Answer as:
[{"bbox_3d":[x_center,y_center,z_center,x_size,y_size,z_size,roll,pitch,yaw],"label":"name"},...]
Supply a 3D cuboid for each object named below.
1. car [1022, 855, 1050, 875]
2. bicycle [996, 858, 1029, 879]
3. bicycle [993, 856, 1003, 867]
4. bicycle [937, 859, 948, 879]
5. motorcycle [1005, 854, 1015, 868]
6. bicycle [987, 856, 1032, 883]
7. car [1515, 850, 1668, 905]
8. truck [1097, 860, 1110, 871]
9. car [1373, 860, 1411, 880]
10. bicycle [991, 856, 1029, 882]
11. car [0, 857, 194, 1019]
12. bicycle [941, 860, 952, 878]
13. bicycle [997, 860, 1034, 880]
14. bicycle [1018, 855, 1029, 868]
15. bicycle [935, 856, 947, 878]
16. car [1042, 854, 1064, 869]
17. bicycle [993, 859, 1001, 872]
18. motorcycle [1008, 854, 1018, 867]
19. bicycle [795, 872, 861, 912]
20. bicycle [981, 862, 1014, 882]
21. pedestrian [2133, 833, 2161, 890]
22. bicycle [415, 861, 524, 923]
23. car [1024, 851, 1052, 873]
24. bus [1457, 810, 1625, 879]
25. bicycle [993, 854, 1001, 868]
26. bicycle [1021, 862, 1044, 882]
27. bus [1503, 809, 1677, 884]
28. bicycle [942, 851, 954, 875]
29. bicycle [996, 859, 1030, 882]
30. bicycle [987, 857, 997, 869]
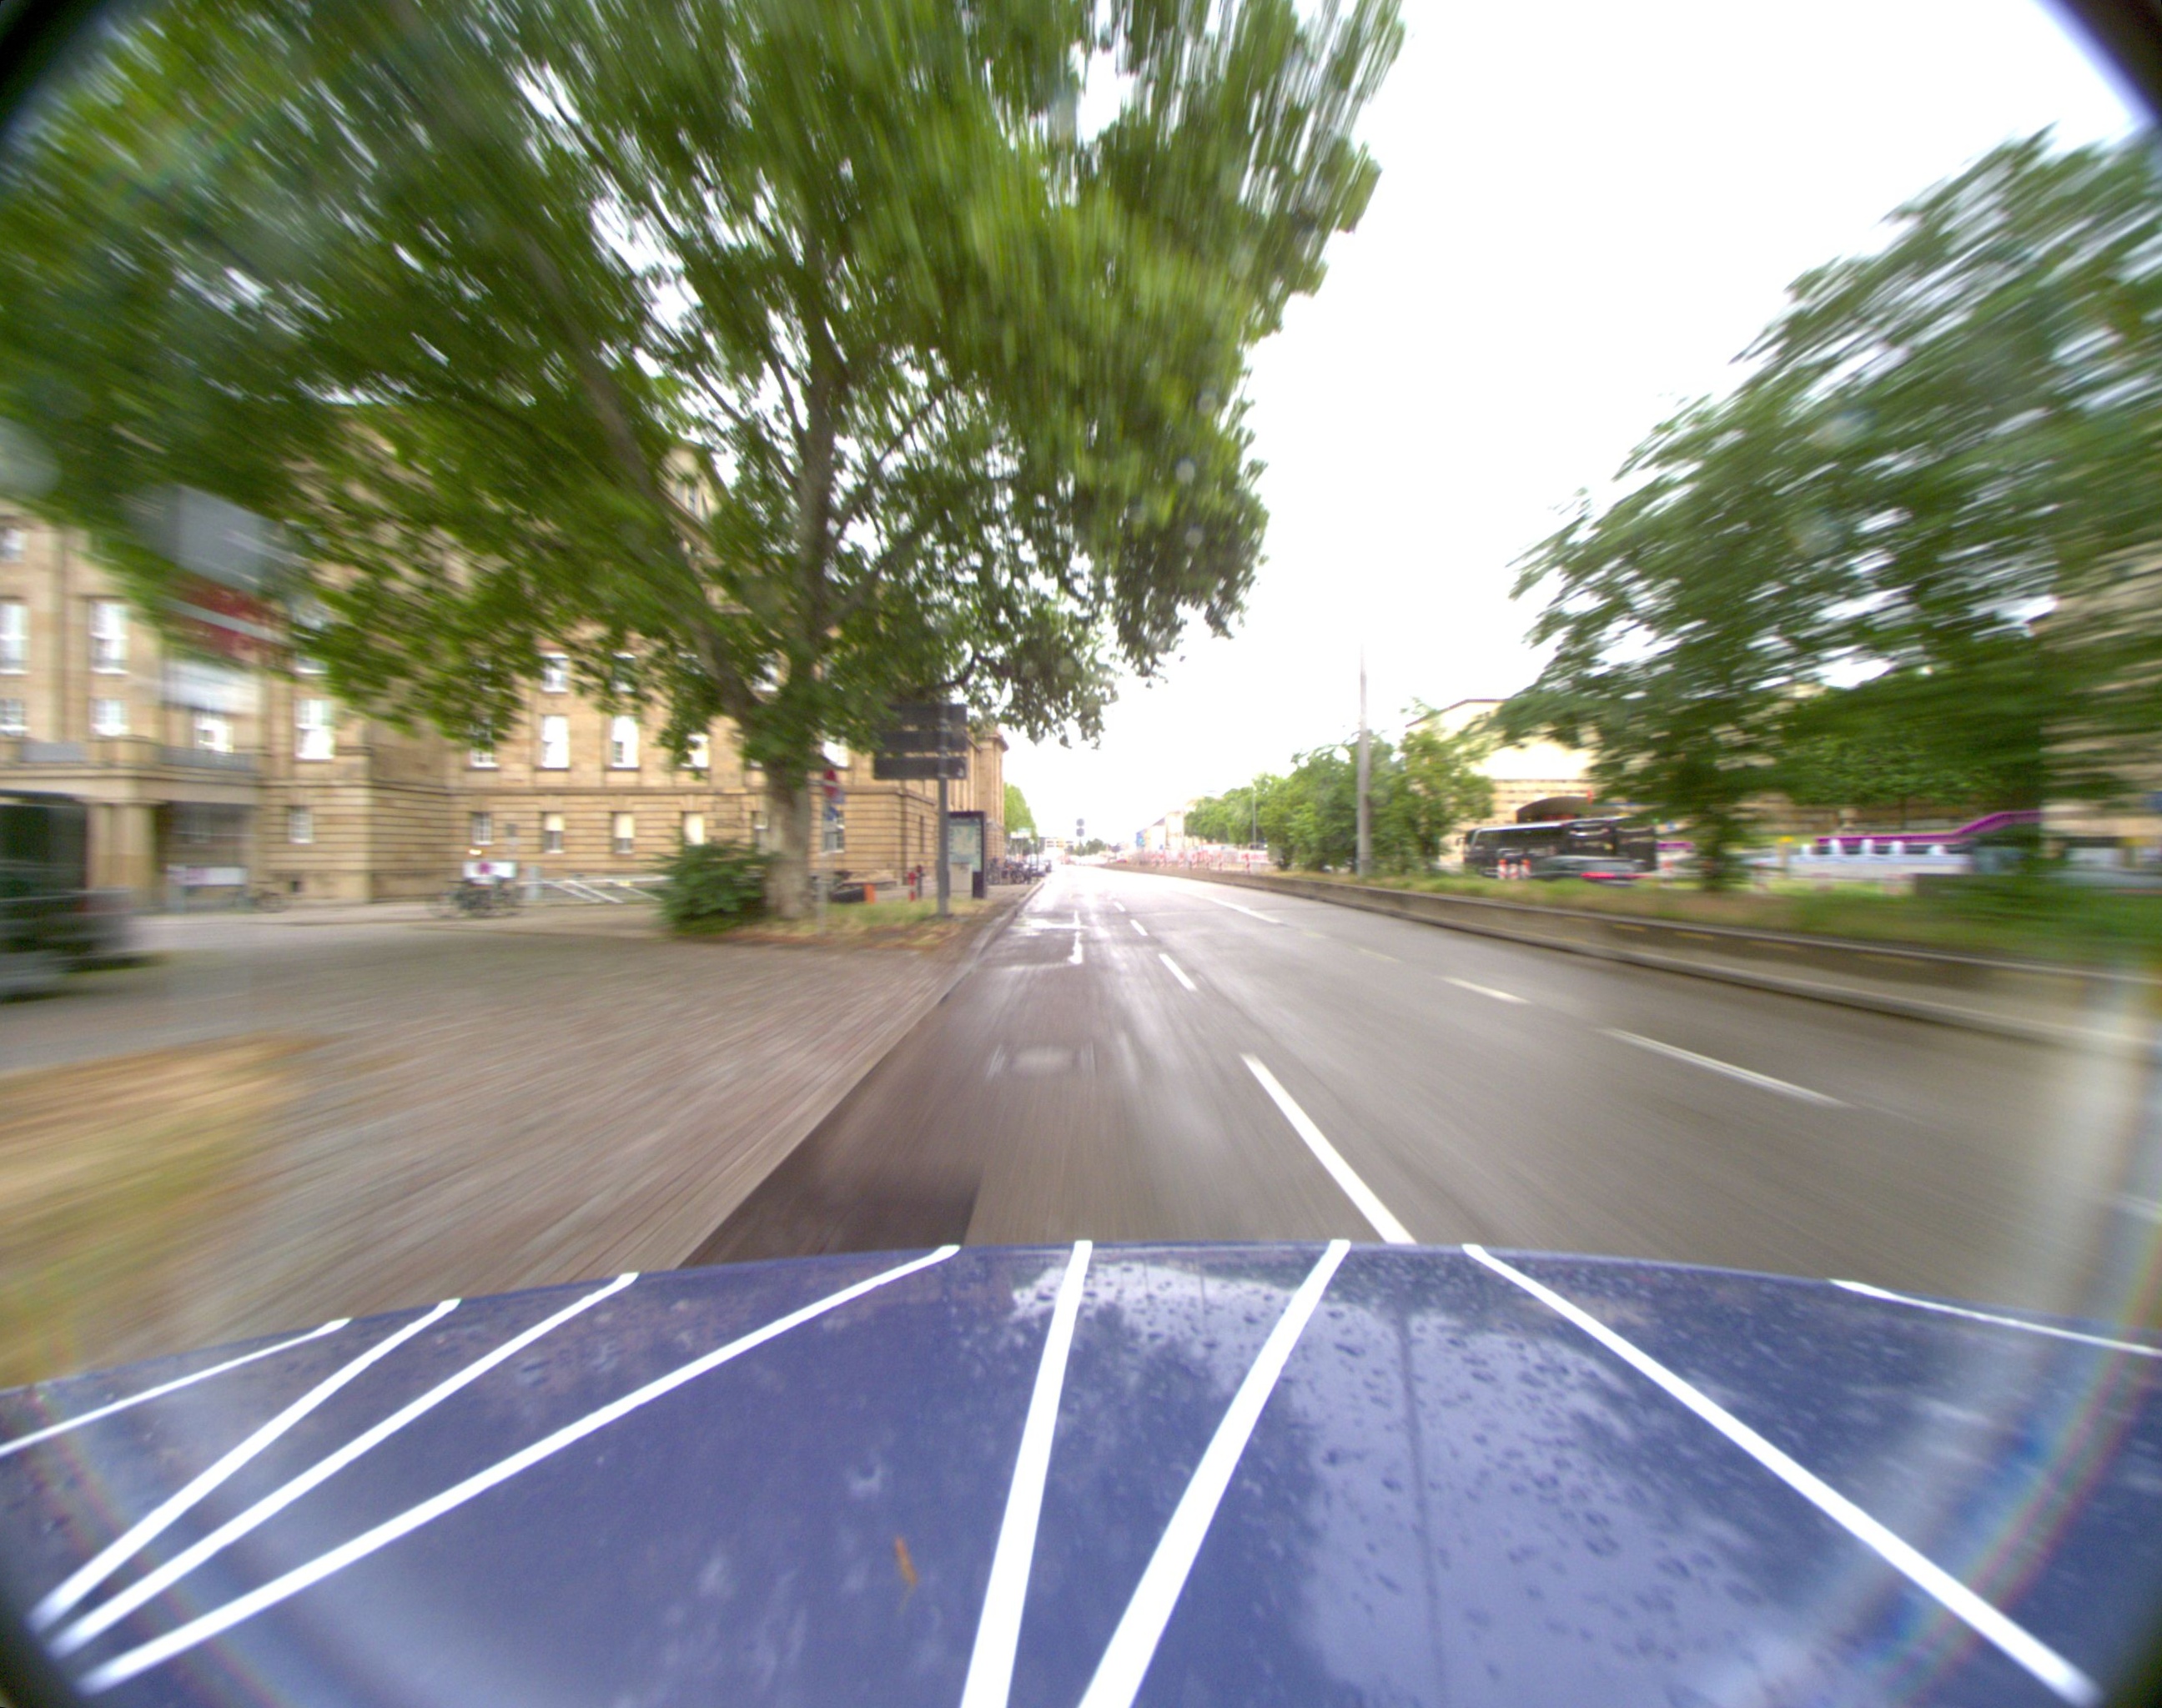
[{"bbox_3d":[-3.503,0.816,59.177,1.936,1.469,3.702,-1,1,0],"label":"car"},{"bbox_3d":[-3.634,0.749,40.256,1.683,1.084,0.650,-1,1,2],"label":"bicycle"},{"bbox_3d":[-8.159,0.730,75.152,0.419,1.043,1.773,-1,1,12],"label":"bicycle"},{"bbox_3d":[-8.142,0.887,44.819,0.353,1.074,1.789,1,1,-1],"label":"bicycle"},{"bbox_3d":[-7.435,0.722,79.694,0.668,1.318,2.135,-1,1,3],"label":"motorcycle"},{"bbox_3d":[-3.676,0.798,39.007,2.196,1.329,0.650,-1,1,2],"label":"bicycle"},{"bbox_3d":[15.876,0.670,23.916,1.999,1.586,3.998,0,0,-3],"label":"car"},{"bbox_3d":[5.783,2.914,198.066,2.405,2.703,7.351,0,0,-6],"label":"truck"},{"bbox_3d":[24.949,1.277,61.090,1.596,1.492,3.213,1,0,-3],"label":"car"},{"bbox_3d":[-3.712,0.760,39.775,1.910,1.325,0.650,-1,1,2],"label":"bicycle"},{"bbox_3d":[-11.627,0.825,6.497,1.999,1.600,5.236,-1,-1,-1],"label":"car"},{"bbox_3d":[-8.200,0.898,46.437,0.353,1.074,1.789,-2,1,-1],"label":"bicycle"},{"bbox_3d":[-3.607,0.898,41.841,1.991,1.054,0.759,-1,1,-3],"label":"bicycle"},{"bbox_3d":[-5.415,0.703,71.634,0.778,1.211,1.963,1,1,-11],"label":"bicycle"},{"bbox_3d":[-8.400,0.757,45.694,0.455,1.244,1.599,-2,0,-2],"label":"bicycle"},{"bbox_3d":[-2.698,0.688,73.542,1.762,1.406,3.153,-1,0,4],"label":"car"},{"bbox_3d":[-7.578,1.031,68.610,0.714,1.045,1.739,-1,1,-5],"label":"bicycle"},{"bbox_3d":[-7.366,0.699,81.958,0.808,1.291,1.799,-1,1,3],"label":"motorcycle"},{"bbox_3d":[-7.182,1.075,21.590,1.644,1.014,0.575,-3,1,5],"label":"bicycle"},{"bbox_3d":[-4.181,0.910,38.224,1.593,0.988,0.525,-1,1,2],"label":"bicycle"},{"bbox_3d":[37.751,0.269,26.783,0.479,2.002,0.512,1,2,0],"label":"pedestrian"},{"bbox_3d":[-17.416,1.060,21.693,2.322,1.657,0.774,-1,2,-6],"label":"bicycle"},{"bbox_3d":[-3.593,0.624,64.030,1.998,1.771,4.188,-1,1,2],"label":"car"},{"bbox_3d":[29.438,-0.539,49.951,2.810,3.789,14.599,-2,0,3],"label":"bus"},{"bbox_3d":[-7.812,0.653,70.492,0.732,1.261,1.758,0,1,-6],"label":"bicycle"},{"bbox_3d":[-2.412,0.889,38.101,0.670,0.962,1.639,-1,1,15],"label":"bicycle"},{"bbox_3d":[33.243,-0.467,50.795,3.126,4.227,13.496,-2,0,3],"label":"bus"},{"bbox_3d":[-8.374,0.557,47.781,0.455,1.507,1.599,-2,1,-2],"label":"bicycle"},{"bbox_3d":[-3.479,0.841,38.963,1.683,1.116,0.601,-1,0,2],"label":"bicycle"},{"bbox_3d":[-7.701,0.752,65.728,0.585,1.032,1.759,-1,1,3],"label":"bicycle"}]
